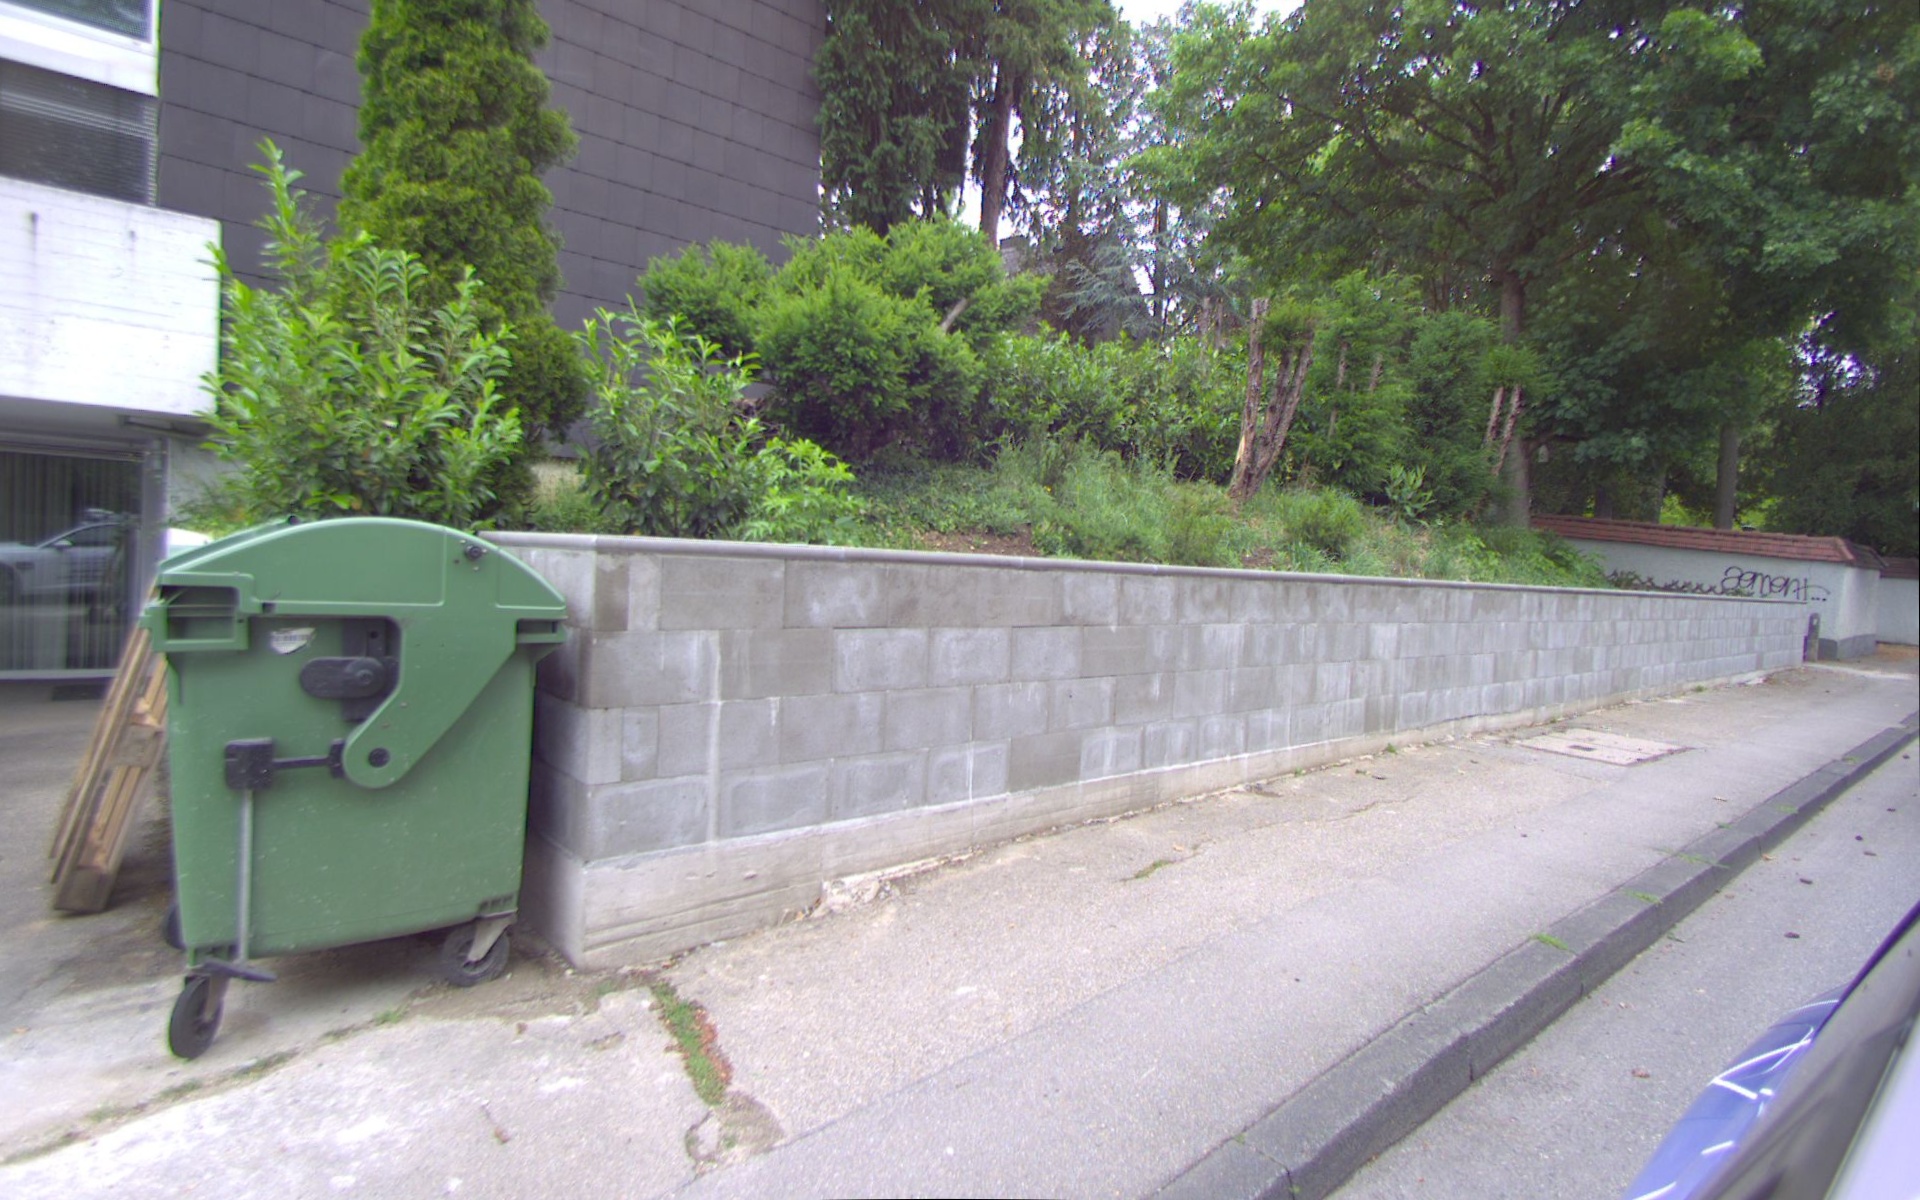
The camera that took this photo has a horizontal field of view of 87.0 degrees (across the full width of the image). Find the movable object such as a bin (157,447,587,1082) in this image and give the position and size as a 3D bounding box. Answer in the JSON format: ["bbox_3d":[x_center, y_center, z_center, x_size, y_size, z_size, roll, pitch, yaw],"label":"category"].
[{"bbox_3d":[-1.868,0.380,3.184,1.014,1.549,1.037,0,2,-39],"label":"movable object such as a bin"}]
